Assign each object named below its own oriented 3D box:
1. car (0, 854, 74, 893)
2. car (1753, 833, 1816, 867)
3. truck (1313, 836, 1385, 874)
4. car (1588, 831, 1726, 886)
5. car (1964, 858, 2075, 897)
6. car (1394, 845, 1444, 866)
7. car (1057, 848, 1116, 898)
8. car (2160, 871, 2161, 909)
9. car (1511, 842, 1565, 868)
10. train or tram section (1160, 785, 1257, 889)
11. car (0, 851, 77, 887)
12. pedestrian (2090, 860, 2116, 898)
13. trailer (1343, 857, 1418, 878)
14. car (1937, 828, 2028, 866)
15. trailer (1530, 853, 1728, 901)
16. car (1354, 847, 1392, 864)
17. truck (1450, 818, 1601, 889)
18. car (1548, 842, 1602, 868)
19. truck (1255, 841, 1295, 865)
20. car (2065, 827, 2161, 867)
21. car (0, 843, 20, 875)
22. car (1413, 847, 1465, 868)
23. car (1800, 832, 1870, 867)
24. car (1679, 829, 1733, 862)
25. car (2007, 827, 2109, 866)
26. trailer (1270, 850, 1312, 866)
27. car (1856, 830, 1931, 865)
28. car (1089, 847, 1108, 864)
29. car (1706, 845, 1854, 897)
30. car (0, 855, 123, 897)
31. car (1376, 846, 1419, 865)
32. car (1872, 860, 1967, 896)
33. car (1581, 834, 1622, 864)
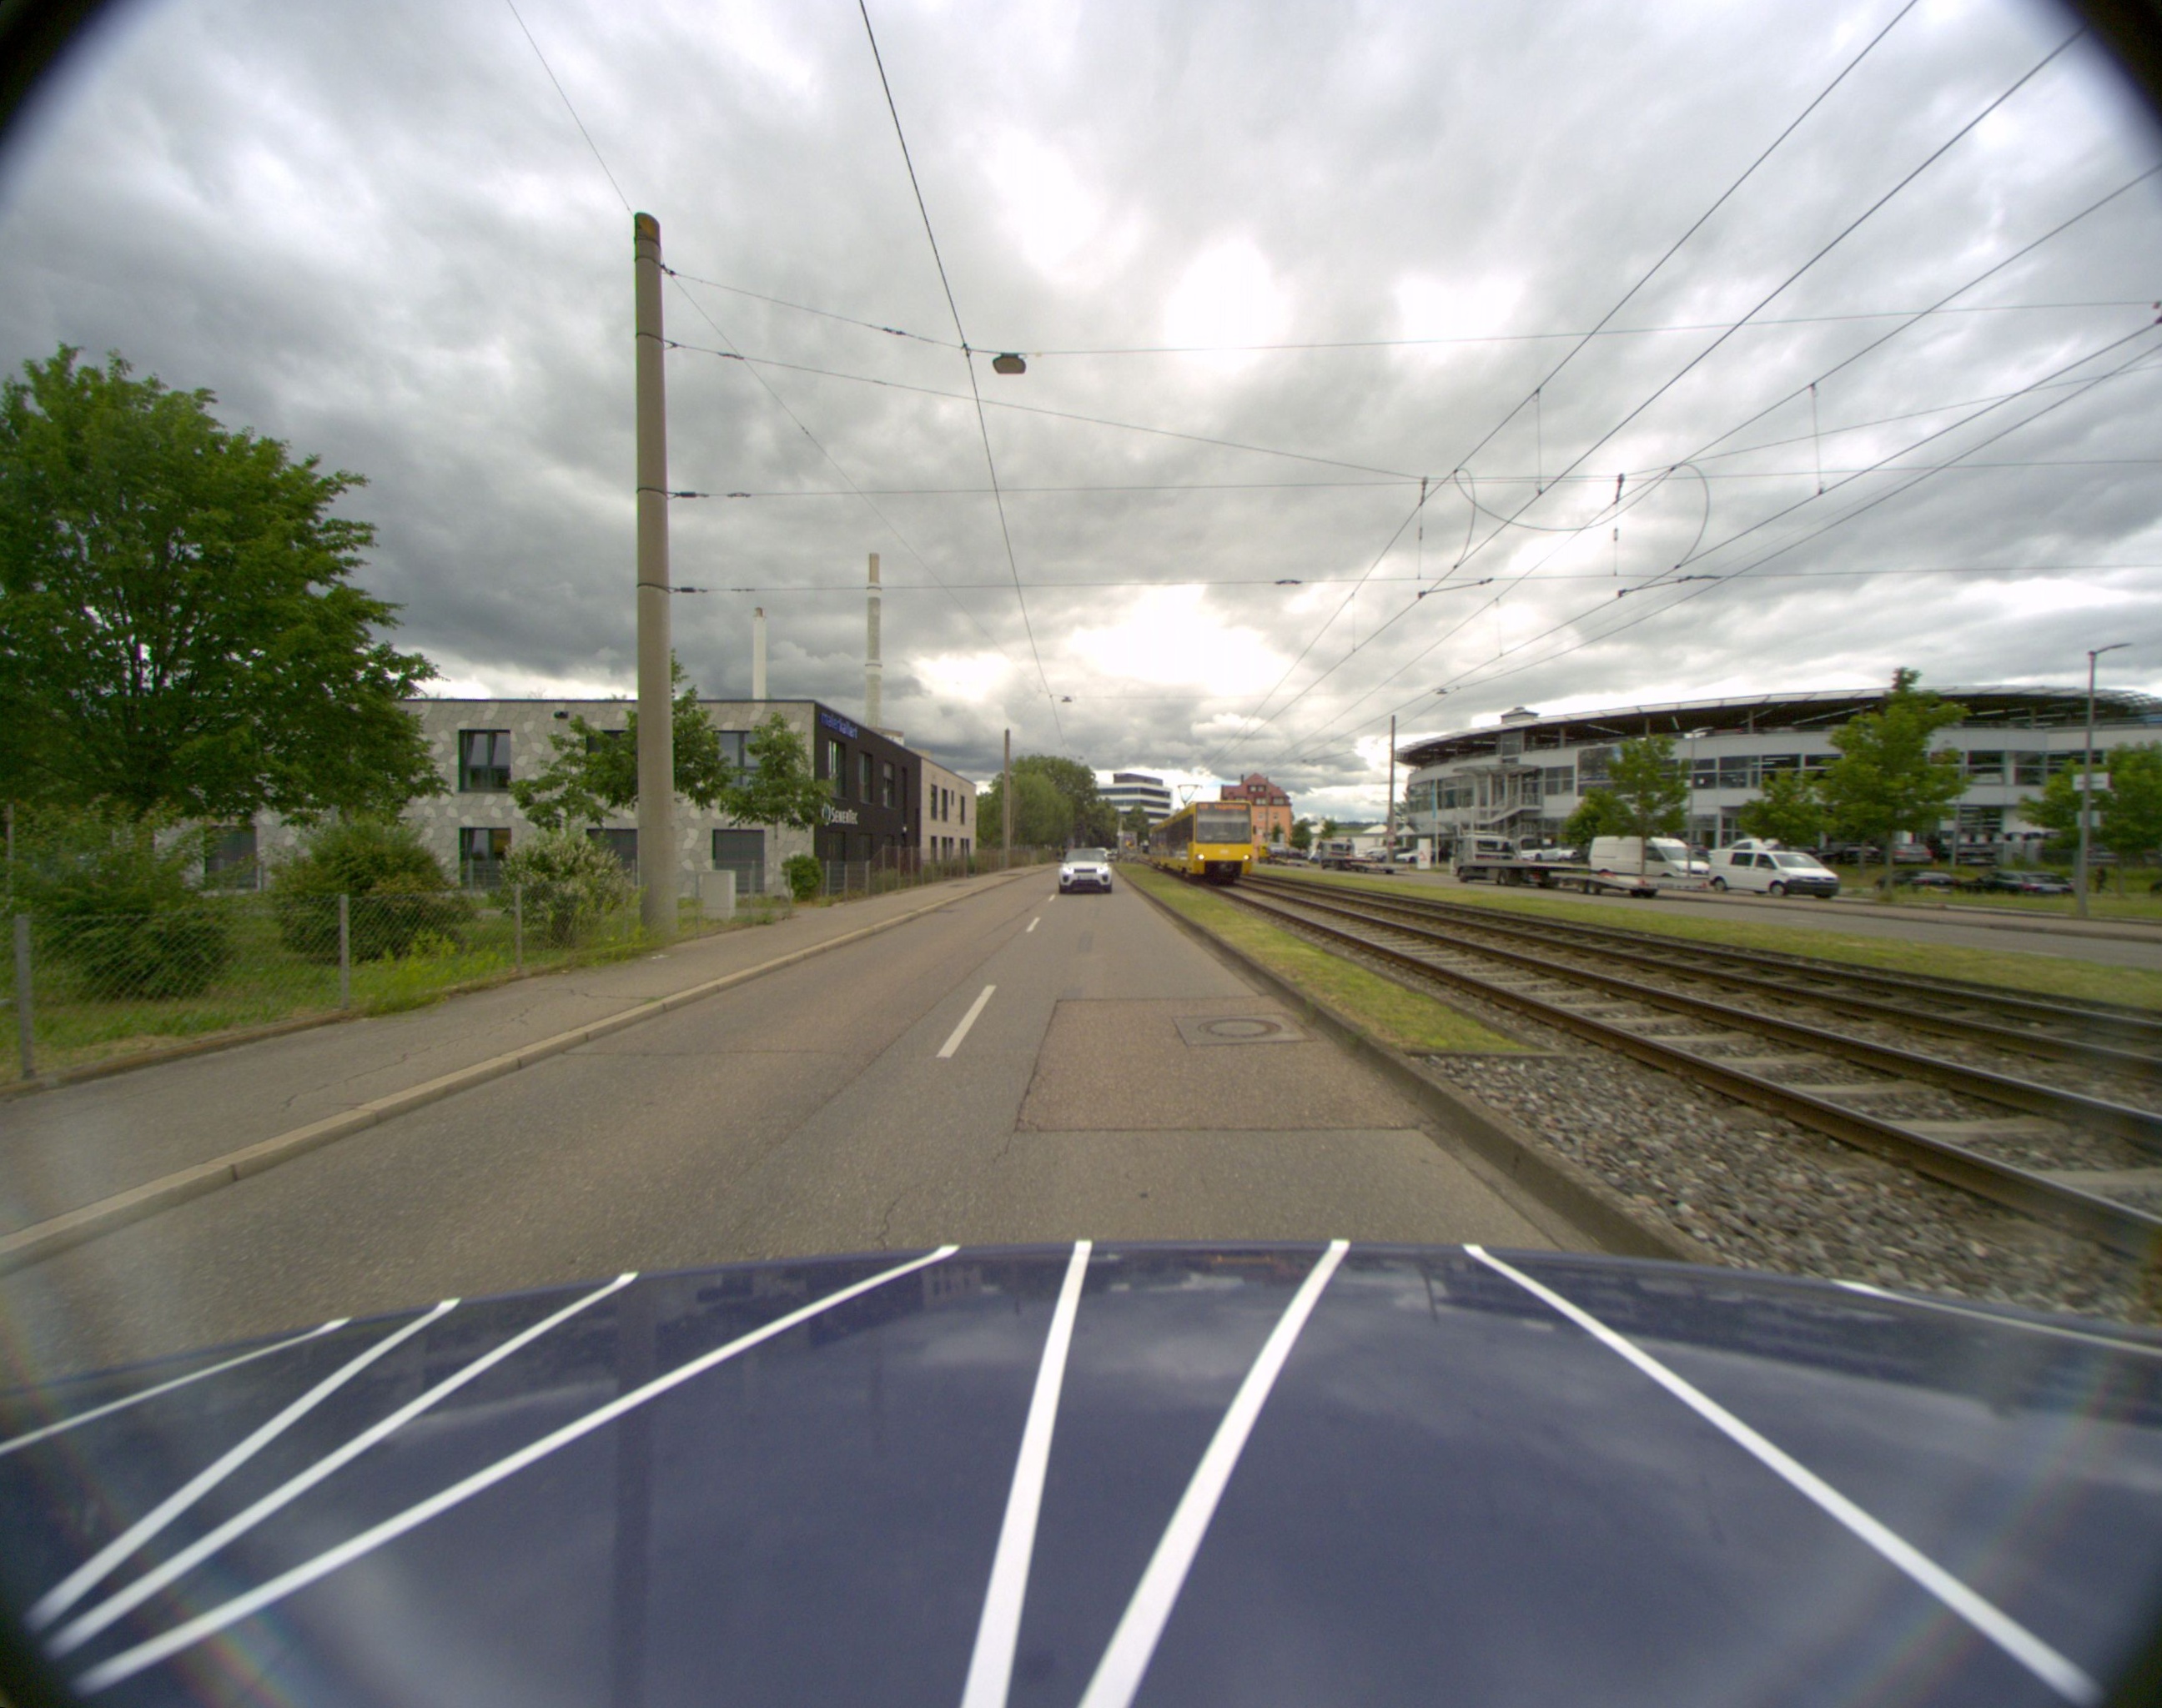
[{"bbox_3d":[-45.749,0.799,31.691,1.994,1.575,4.386,1,1,40],"label":"car"},{"bbox_3d":[43.029,-0.263,46.593,1.994,2.002,4.008,1,1,30],"label":"car"},{"bbox_3d":[22.618,0.066,64.740,3.114,2.905,8.962,2,0,2],"label":"truck"},{"bbox_3d":[28.844,0.211,38.379,2.000,2.546,5.858,0,0,-8],"label":"car"},{"bbox_3d":[42.244,1.016,34.327,1.672,1.608,3.722,1,0,25],"label":"car"},{"bbox_3d":[33.384,0.136,75.081,4.001,1.936,1.998,0,1,-10],"label":"car"},{"bbox_3d":[0.281,0.653,28.434,1.998,1.718,4.001,-1,0,3],"label":"car"},{"bbox_3d":[46.549,1.562,30.493,1.674,1.608,3.719,0,0,13],"label":"car"},{"bbox_3d":[37.404,0.075,62.184,4.006,2.002,1.995,0,1,-30],"label":"car"},{"bbox_3d":[5.840,-0.801,38.099,3.395,3.984,16.948,-1,1,5],"label":"train or tram section"},{"bbox_3d":[-48.777,0.648,34.078,1.994,1.575,4.386,1,1,40],"label":"car"},{"bbox_3d":[42.060,1.017,31.270,0.498,1.516,0.614,2,2,41],"label":"pedestrian"},{"bbox_3d":[22.184,0.962,56.771,3.056,1.270,7.007,3,0,3],"label":"trailer"},{"bbox_3d":[50.398,-0.386,42.590,1.994,2.002,4.008,1,1,30],"label":"car"},{"bbox_3d":[20.628,0.758,29.260,2.764,1.486,7.227,3,0,4],"label":"trailer"},{"bbox_3d":[34.224,0.189,88.963,3.990,1.936,2.003,1,1,24],"label":"car"},{"bbox_3d":[21.267,-0.046,37.081,2.870,2.964,8.457,2,0,4],"label":"truck"},{"bbox_3d":[39.380,0.107,60.543,4.006,2.002,1.995,0,1,-30],"label":"car"},{"bbox_3d":[23.702,-0.111,93.223,3.056,2.843,9.068,0,0,3],"label":"truck"},{"bbox_3d":[54.688,-0.351,40.057,1.994,2.002,4.008,1,1,30],"label":"car"},{"bbox_3d":[-55.320,0.251,36.825,1.994,1.575,4.386,1,1,40],"label":"car"},{"bbox_3d":[34.047,0.292,72.254,4.001,1.936,1.998,0,1,-10],"label":"car"},{"bbox_3d":[45.291,-0.265,45.736,1.994,2.002,4.008,1,1,30],"label":"car"},{"bbox_3d":[40.086,-0.543,48.821,1.994,2.002,4.008,1,1,30],"label":"car"},{"bbox_3d":[52.890,-0.387,41.238,1.994,2.002,4.008,1,1,30],"label":"car"},{"bbox_3d":[23.365,0.446,84.903,2.984,1.678,7.570,0,0,3],"label":"trailer"},{"bbox_3d":[48.901,-0.399,45.818,1.994,2.002,4.008,1,1,30],"label":"car"},{"bbox_3d":[1.951,0.128,85.000,1.998,1.882,4.626,1,0,0],"label":"car"},{"bbox_3d":[29.181,0.661,31.979,1.998,2.002,4.808,0,0,4],"label":"car"},{"bbox_3d":[-40.986,0.830,29.656,1.994,1.575,4.386,1,1,40],"label":"car"},{"bbox_3d":[33.661,0.114,80.877,3.992,1.936,2.002,1,1,14],"label":"car"},{"bbox_3d":[40.317,1.107,36.657,1.673,1.608,3.722,1,0,23],"label":"car"},{"bbox_3d":[35.555,-0.345,51.962,1.994,2.002,4.008,1,1,30],"label":"car"}]
